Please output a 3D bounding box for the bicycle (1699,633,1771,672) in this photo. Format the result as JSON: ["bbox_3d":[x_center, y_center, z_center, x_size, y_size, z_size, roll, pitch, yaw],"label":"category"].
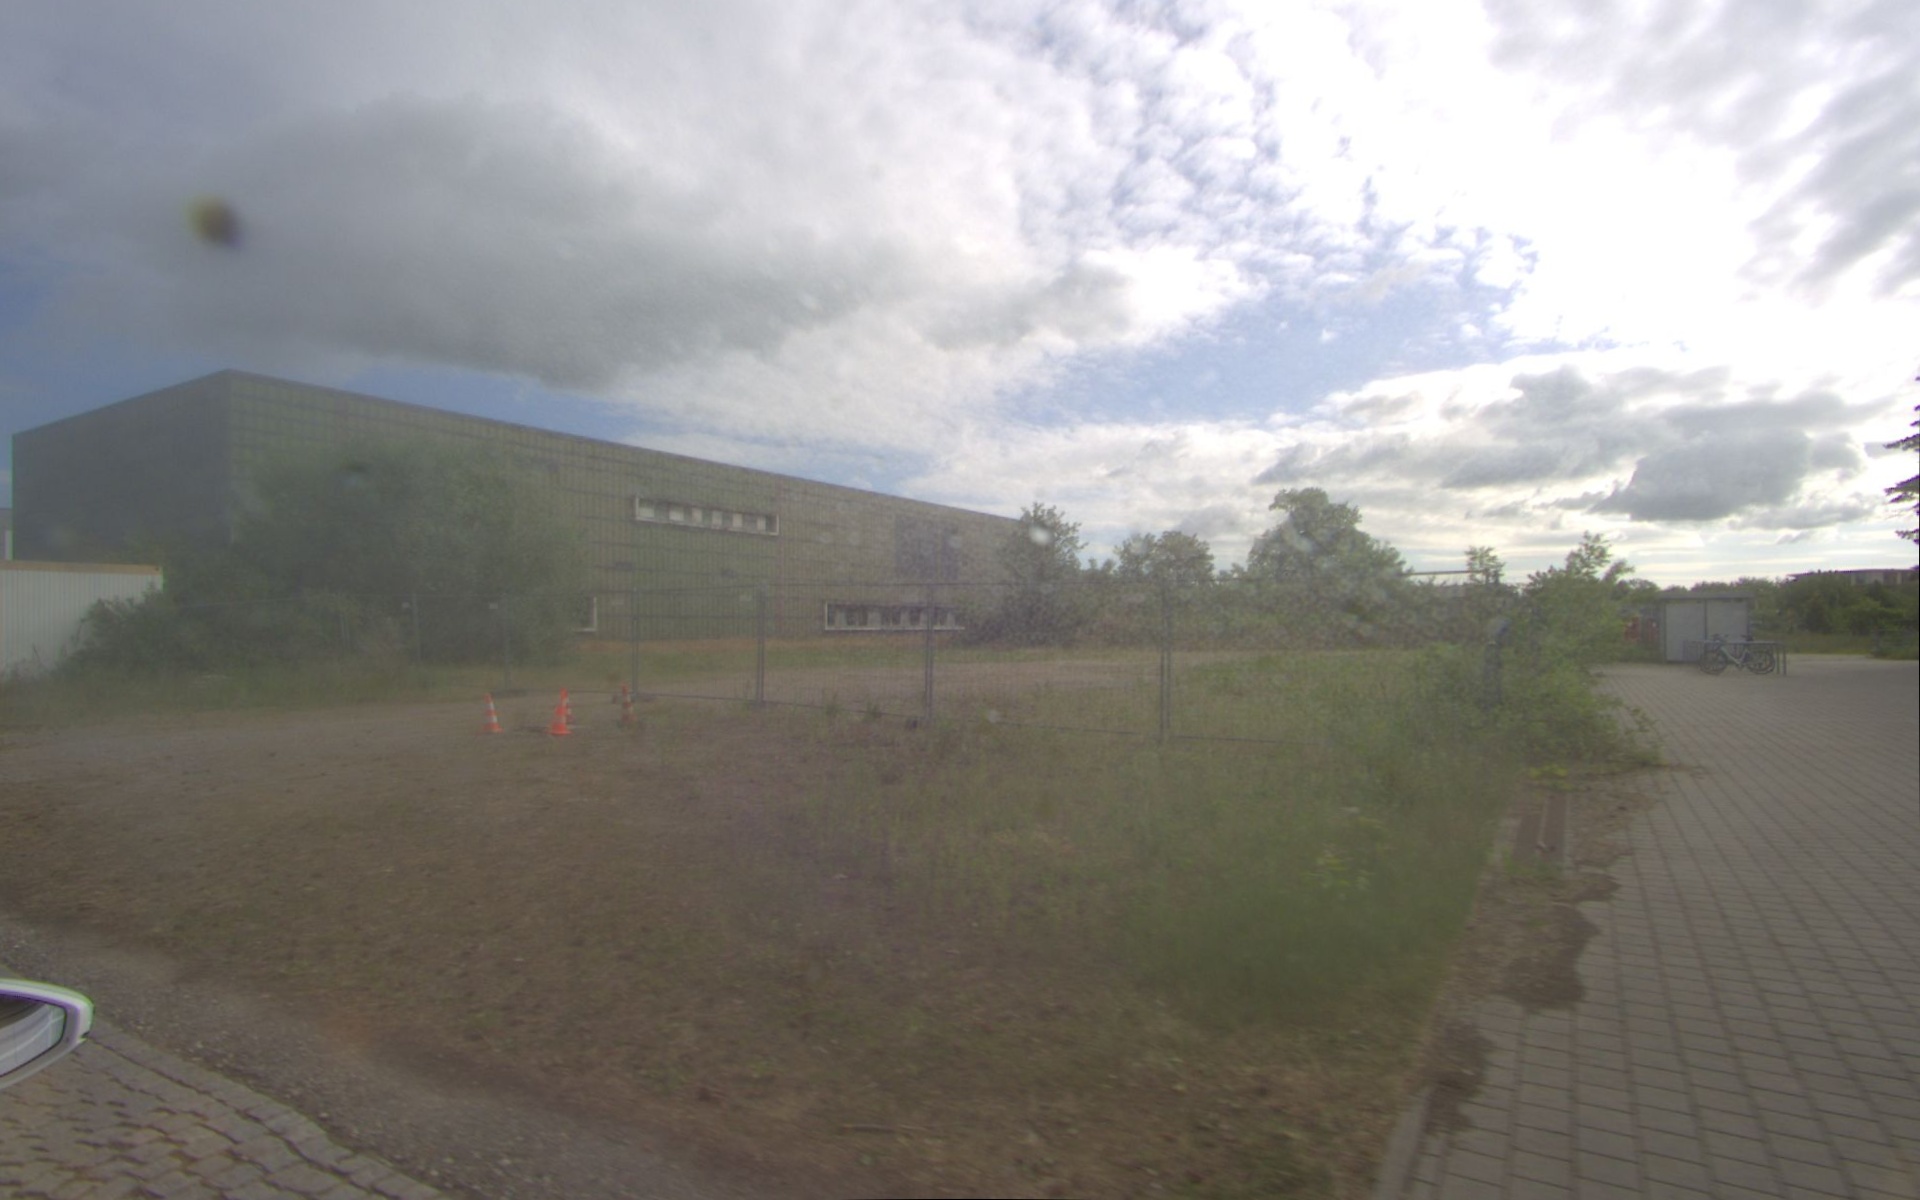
[{"bbox_3d":[22.699,1.530,29.343,1.638,1.099,0.508,-1,-1,42],"label":"bicycle"}]

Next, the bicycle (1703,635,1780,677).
[{"bbox_3d":[21.432,1.516,27.470,1.638,1.099,0.508,-1,-1,42],"label":"bicycle"}]
